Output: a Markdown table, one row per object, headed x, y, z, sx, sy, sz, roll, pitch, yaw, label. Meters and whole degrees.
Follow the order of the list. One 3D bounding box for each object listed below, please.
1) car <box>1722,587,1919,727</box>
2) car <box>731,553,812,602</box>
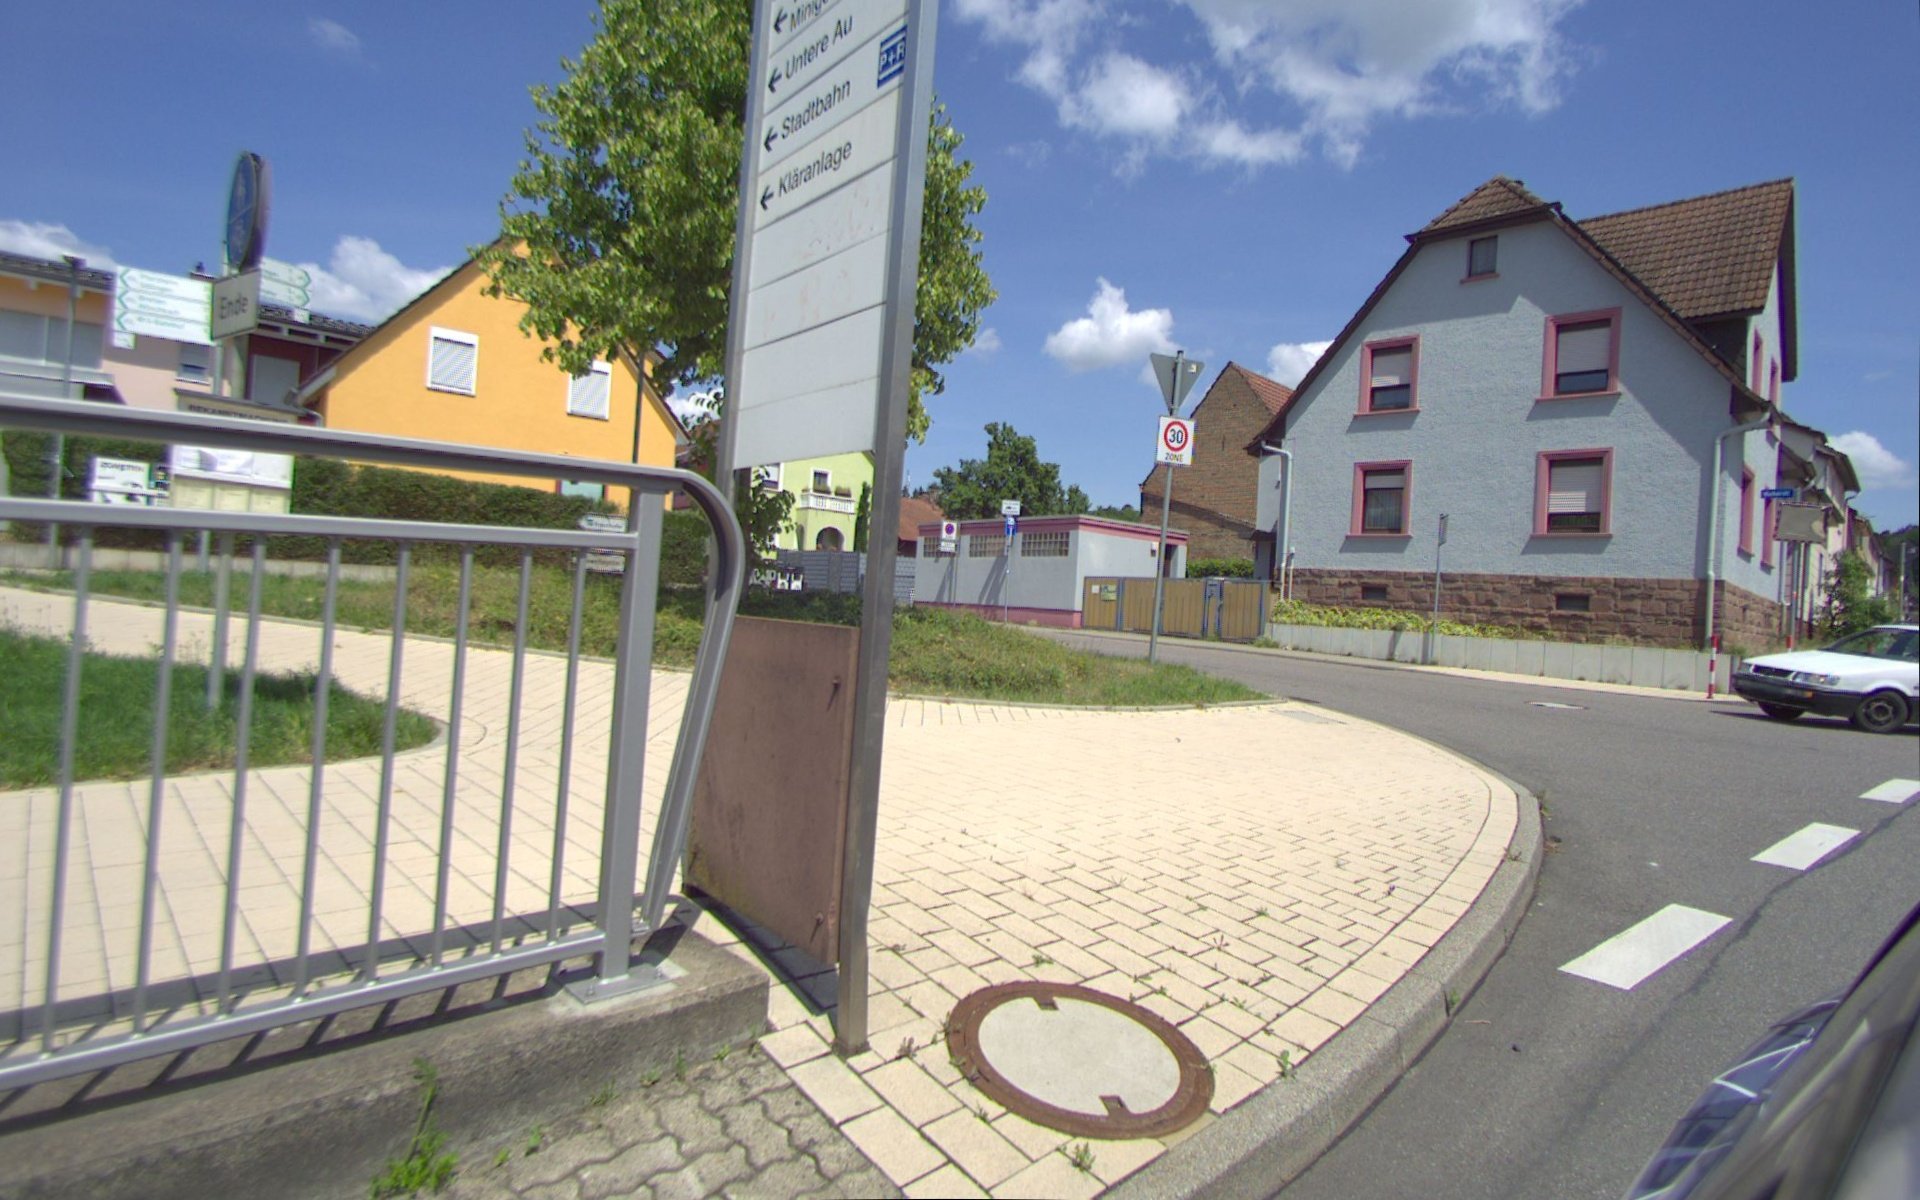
| x | y | z | sx | sy | sz | roll | pitch | yaw | label |
| --- | --- | --- | --- | --- | --- | --- | --- | --- | --- |
| 12.995 | 0.809 | 13.239 | 4.741 | 1.665 | 1.681 | 3 | -3 | 1 | car |
| -7.784 | -0.924 | 41.481 | 1.613 | 1.851 | 3.998 | 2 | 0 | -37 | car |
